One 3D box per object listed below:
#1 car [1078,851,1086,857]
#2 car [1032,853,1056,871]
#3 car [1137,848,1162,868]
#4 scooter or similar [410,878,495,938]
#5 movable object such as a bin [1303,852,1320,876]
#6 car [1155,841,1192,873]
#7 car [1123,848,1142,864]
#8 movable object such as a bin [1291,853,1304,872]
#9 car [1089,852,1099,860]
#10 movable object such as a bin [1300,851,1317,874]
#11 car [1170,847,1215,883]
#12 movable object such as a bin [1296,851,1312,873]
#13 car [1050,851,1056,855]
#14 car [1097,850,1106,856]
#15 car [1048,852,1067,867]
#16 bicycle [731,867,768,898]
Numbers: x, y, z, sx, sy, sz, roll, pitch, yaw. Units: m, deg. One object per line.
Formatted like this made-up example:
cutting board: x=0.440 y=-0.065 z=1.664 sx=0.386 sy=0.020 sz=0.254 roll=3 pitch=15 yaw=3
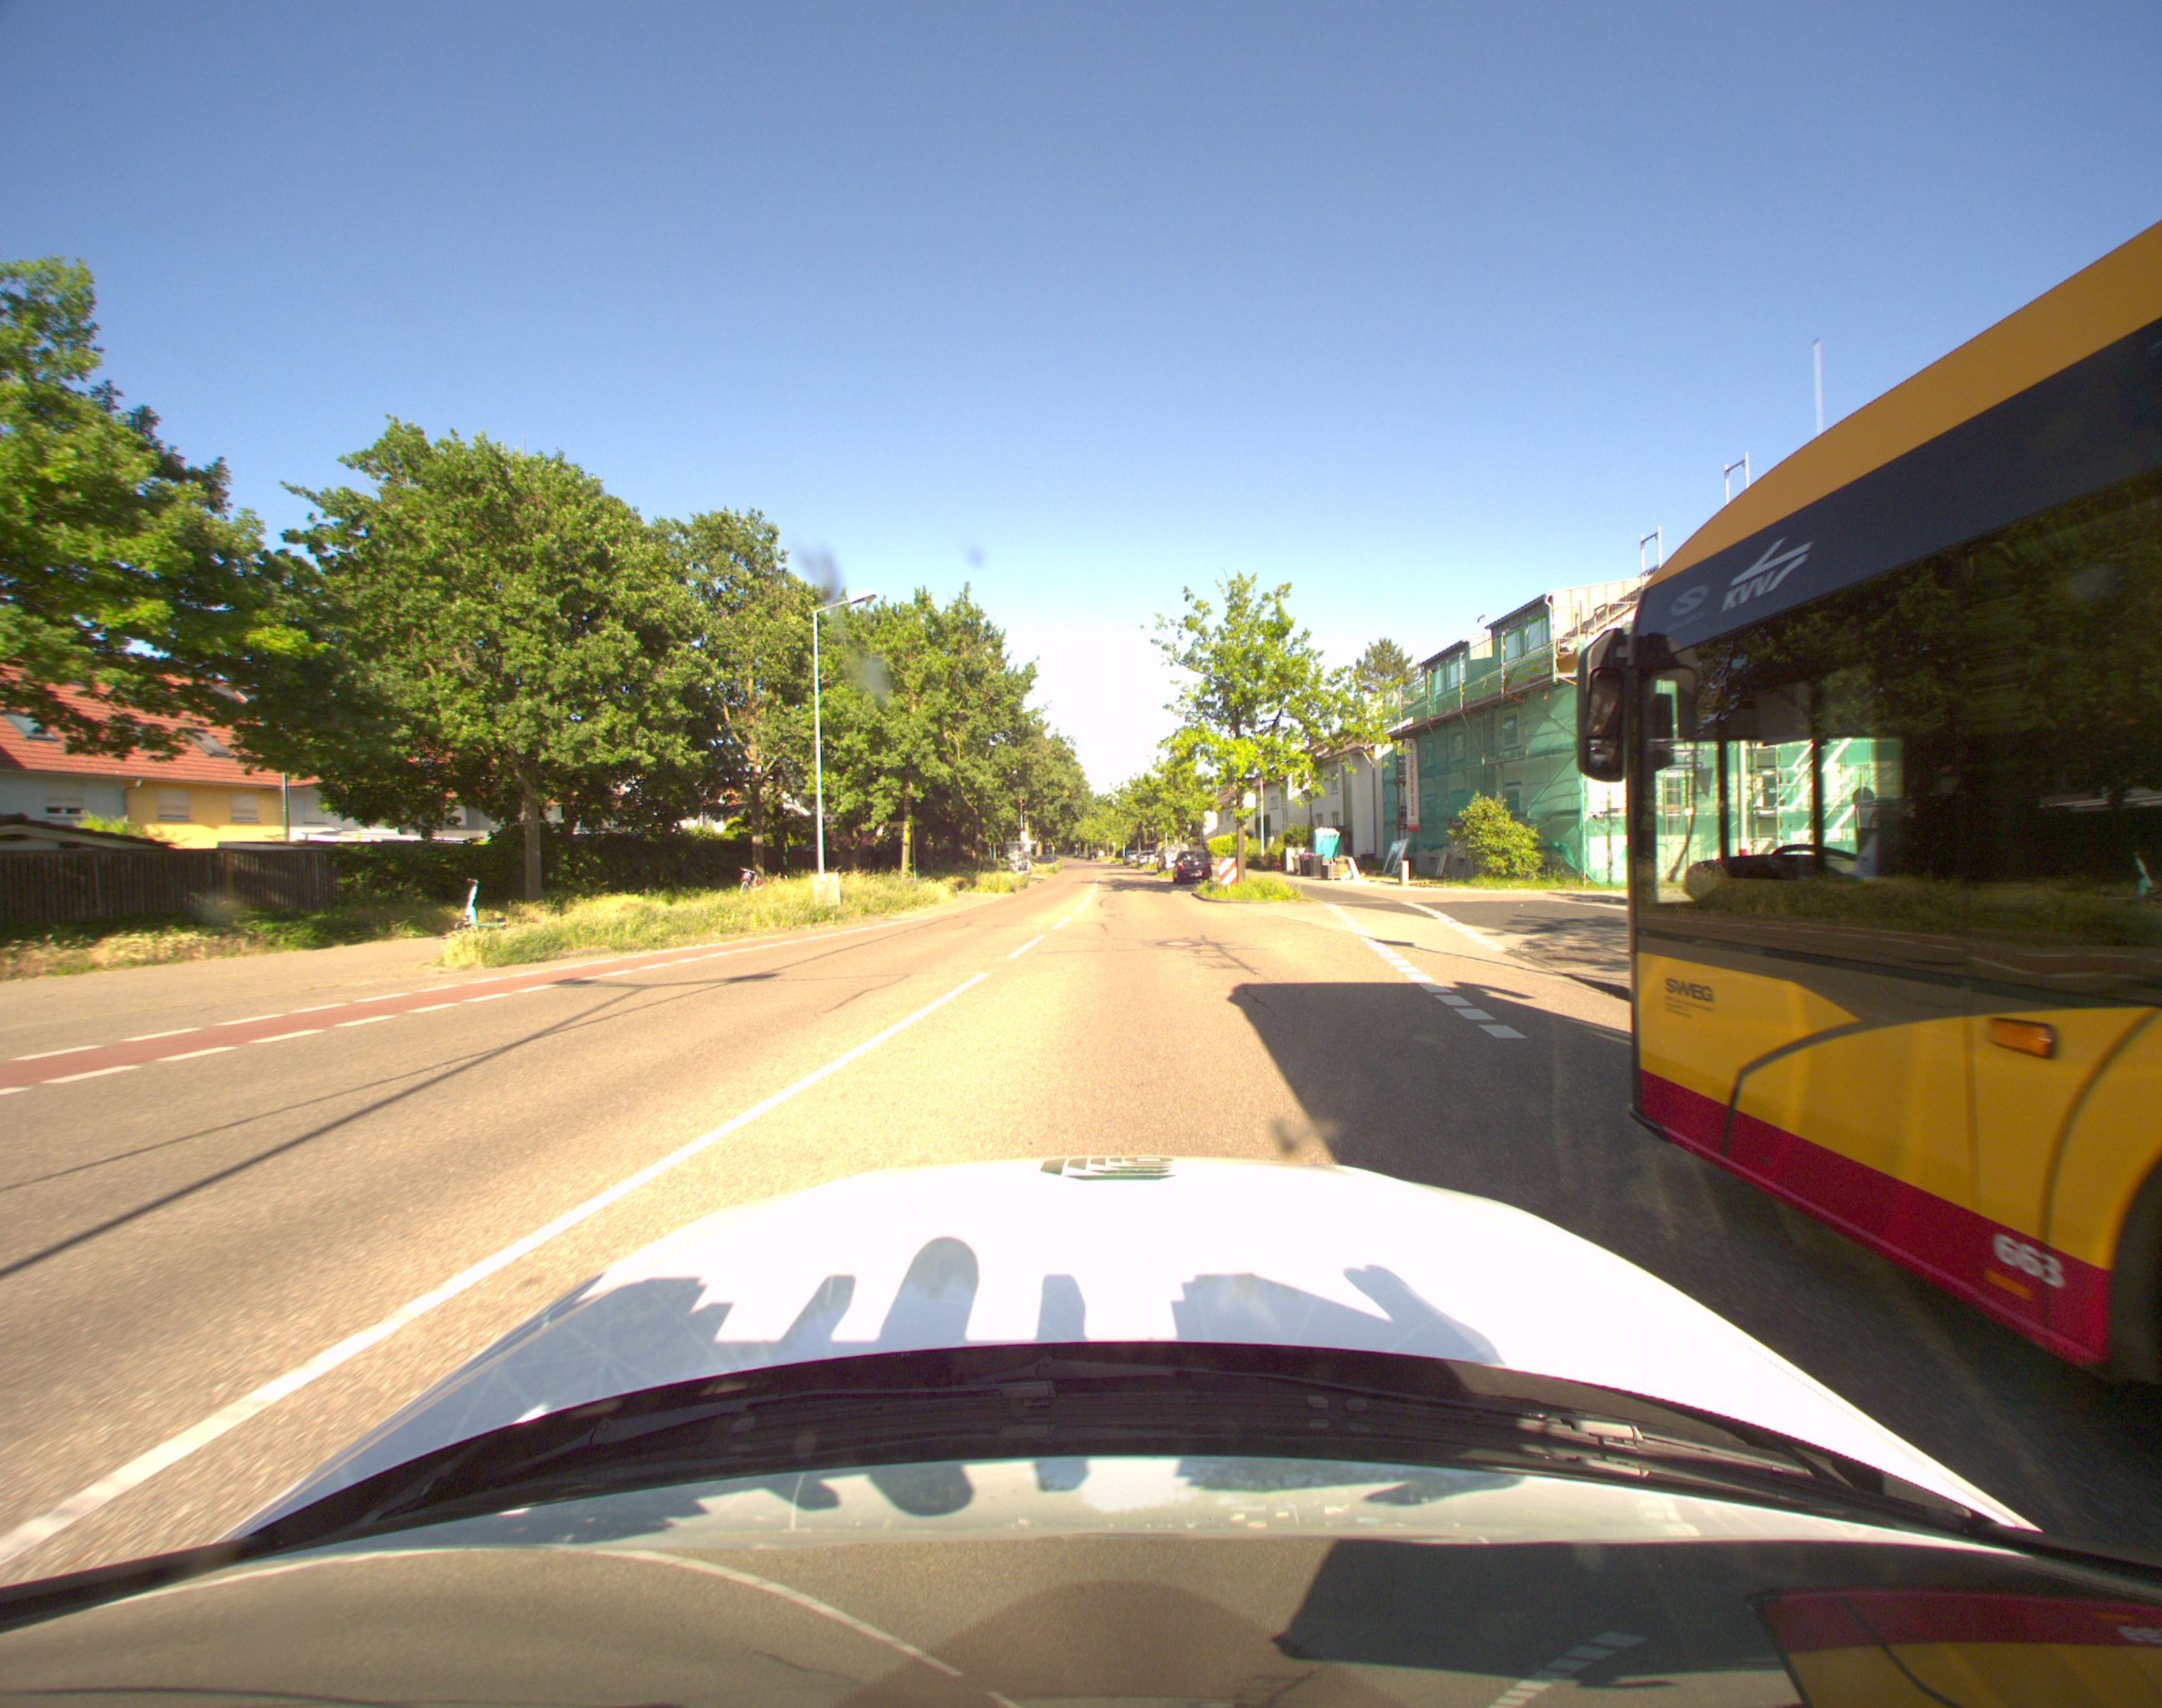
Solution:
car: x=0.190 y=0.047 z=194.191 sx=1.928 sy=1.454 sz=3.998 roll=-1 pitch=0 yaw=-1
car: x=-3.139 y=0.681 z=69.775 sx=1.930 sy=1.479 sz=3.997 roll=-1 pitch=0 yaw=-2
car: x=6.195 y=0.350 z=74.317 sx=1.930 sy=1.704 sz=3.999 roll=-1 pitch=0 yaw=0
scooter or similar: x=-14.079 y=1.187 z=18.280 sx=0.534 sy=1.218 sz=1.420 roll=0 pitch=2 yaw=19
movable object such as a bin: x=10.526 y=0.439 z=37.182 sx=0.601 sy=1.069 sz=0.646 roll=-1 pitch=0 yaw=1
car: x=6.063 y=0.185 z=53.925 sx=1.830 sy=1.971 sz=4.758 roll=-1 pitch=0 yaw=0
car: x=6.077 y=0.223 z=96.952 sx=1.927 sy=1.742 sz=3.999 roll=-1 pitch=0 yaw=0
movable object such as a bin: x=10.873 y=0.420 z=40.888 sx=0.527 sy=0.932 sz=0.549 roll=-1 pitch=0 yaw=1
car: x=2.629 y=0.437 z=166.093 sx=1.927 sy=1.542 sz=3.999 roll=-1 pitch=0 yaw=0
movable object such as a bin: x=10.664 y=0.387 z=38.175 sx=0.601 sy=1.069 sz=0.646 roll=-1 pitch=0 yaw=1
car: x=5.256 y=0.489 z=38.608 sx=1.666 sy=1.578 sz=3.753 roll=-3 pitch=0 yaw=2
movable object such as a bin: x=10.684 y=0.385 z=39.001 sx=0.601 sy=1.069 sz=0.567 roll=-1 pitch=0 yaw=1
car: x=-8.537 y=-0.302 z=248.171 sx=1.928 sy=1.454 sz=3.998 roll=-1 pitch=0 yaw=-1
car: x=4.885 y=-0.215 z=192.116 sx=1.928 sy=1.454 sz=3.998 roll=-1 pitch=0 yaw=-1
car: x=-2.480 y=0.544 z=85.422 sx=1.989 sy=1.556 sz=3.996 roll=0 pitch=0 yaw=-2
bicycle: x=-12.216 y=1.035 z=30.062 sx=0.503 sy=1.053 sz=1.881 roll=-1 pitch=0 yaw=3
